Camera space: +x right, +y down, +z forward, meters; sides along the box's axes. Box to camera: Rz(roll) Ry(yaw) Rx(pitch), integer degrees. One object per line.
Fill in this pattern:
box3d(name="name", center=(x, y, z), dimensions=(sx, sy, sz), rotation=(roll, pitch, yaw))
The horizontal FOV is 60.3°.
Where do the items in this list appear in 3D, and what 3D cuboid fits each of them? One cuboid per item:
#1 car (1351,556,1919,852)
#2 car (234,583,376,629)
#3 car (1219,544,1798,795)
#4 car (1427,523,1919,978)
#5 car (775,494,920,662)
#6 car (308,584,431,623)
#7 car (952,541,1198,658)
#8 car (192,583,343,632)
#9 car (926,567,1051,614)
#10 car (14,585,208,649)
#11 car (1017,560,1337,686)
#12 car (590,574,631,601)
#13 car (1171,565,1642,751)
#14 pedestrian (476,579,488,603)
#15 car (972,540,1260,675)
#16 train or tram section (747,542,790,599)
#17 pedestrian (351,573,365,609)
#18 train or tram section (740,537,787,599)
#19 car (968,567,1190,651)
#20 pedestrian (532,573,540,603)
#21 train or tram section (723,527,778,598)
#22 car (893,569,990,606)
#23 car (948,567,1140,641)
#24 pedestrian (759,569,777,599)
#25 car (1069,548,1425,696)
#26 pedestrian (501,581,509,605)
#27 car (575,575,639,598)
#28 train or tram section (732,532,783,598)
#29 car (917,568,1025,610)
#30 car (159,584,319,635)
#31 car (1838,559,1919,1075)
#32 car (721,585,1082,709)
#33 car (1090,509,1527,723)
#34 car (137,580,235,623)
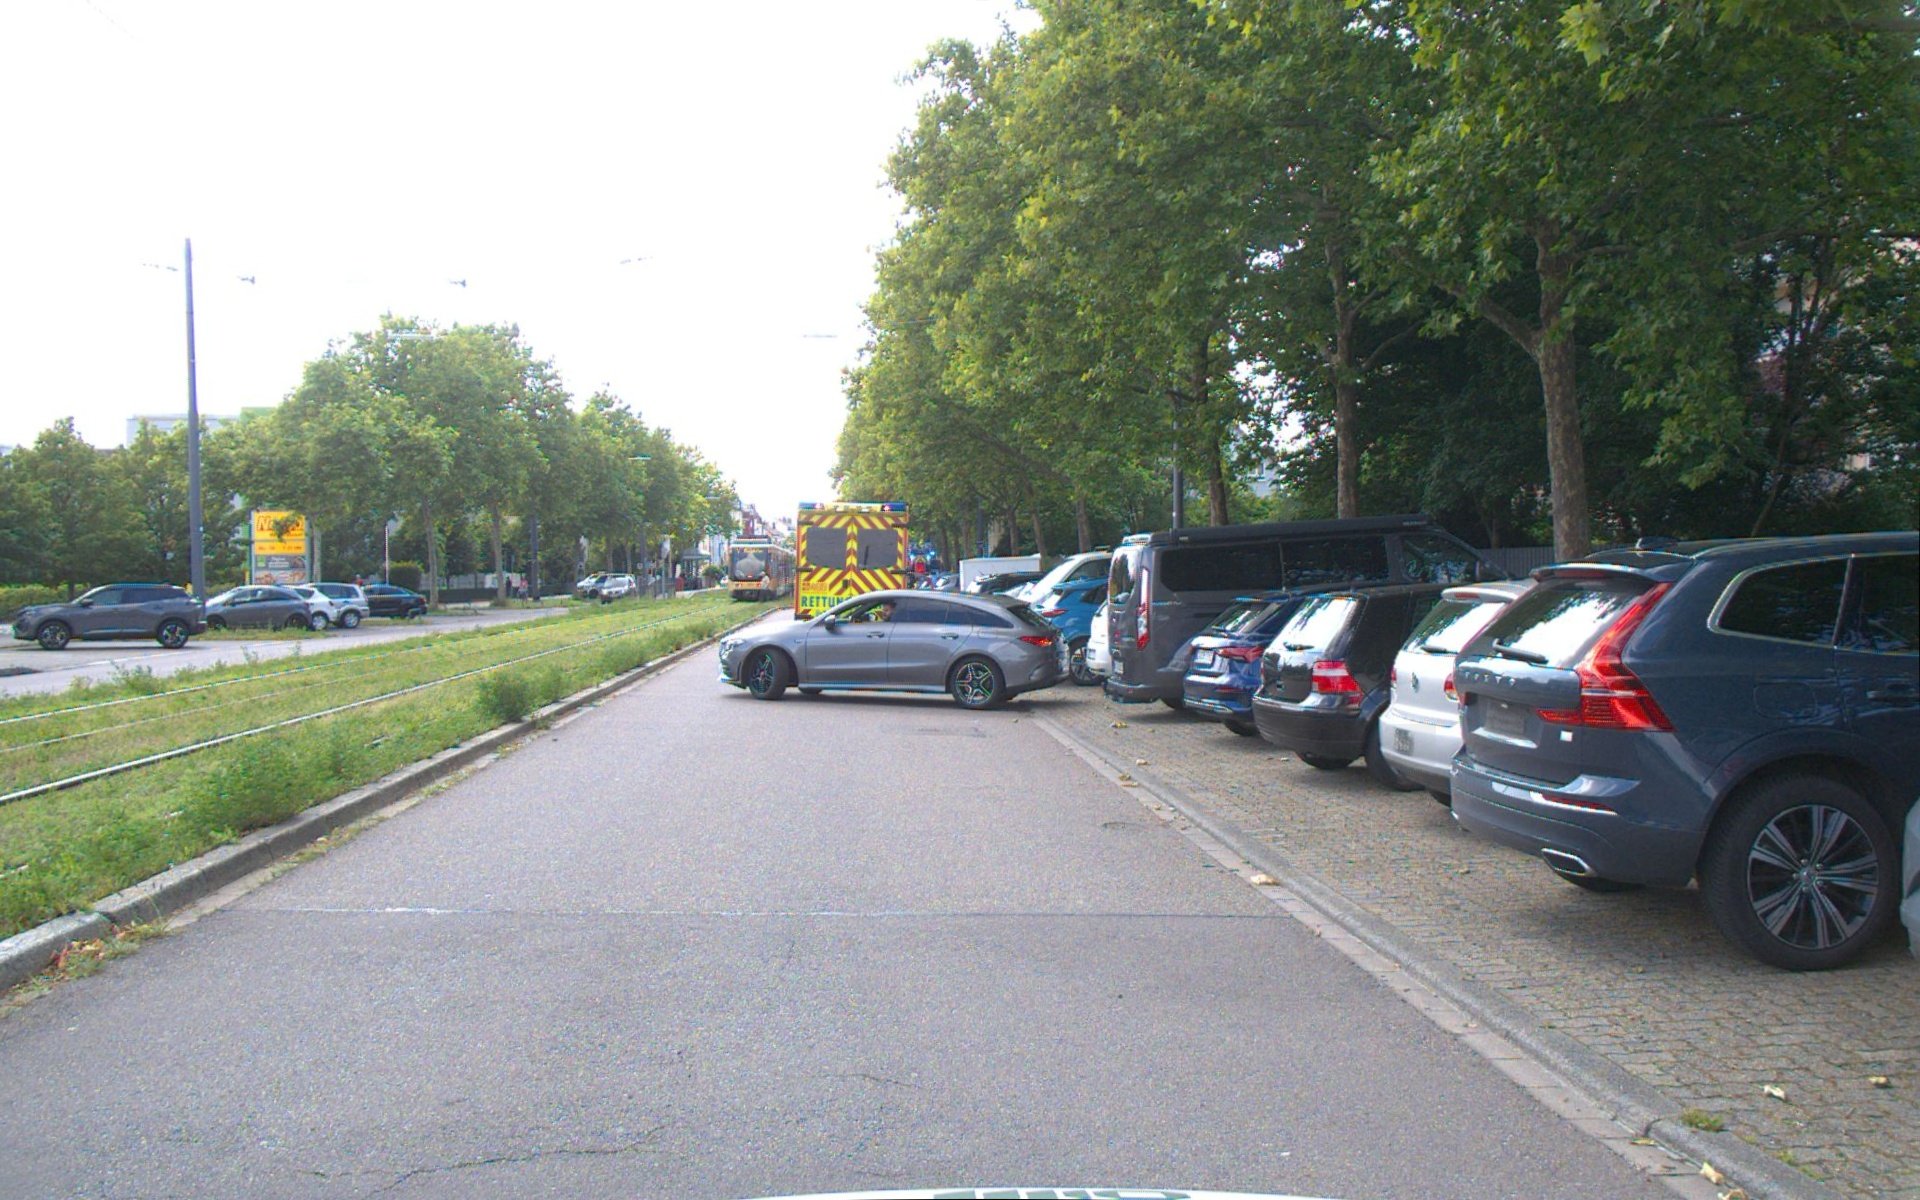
box3d(name="car", center=(4.558, 0.539, 10.030), dimensions=(3.888, 1.520, 1.754), rotation=(-2, 1, -5))
box3d(name="car", center=(-22.476, 0.186, 56.847), dimensions=(4.195, 1.508, 1.856), rotation=(0, 0, -40))
box3d(name="car", center=(4.158, 0.455, 12.726), dimensions=(3.899, 1.633, 1.749), rotation=(-2, 1, -15))
box3d(name="car", center=(4.438, 0.507, 7.161), dimensions=(4.293, 1.668, 1.755), rotation=(-2, 1, -2))
box3d(name="car", center=(-2.204, -0.441, 33.887), dimensions=(2.588, 3.018, 6.297), rotation=(2, 0, -2))
box3d(name="car", center=(-23.175, 0.118, 65.017), dimensions=(4.202, 1.508, 1.853), rotation=(0, 0, -44))
box3d(name="car", center=(2.202, -0.029, 32.173), dimensions=(4.460, 2.079, 1.853), rotation=(-2, 1, -8))
box3d(name="car", center=(-22.495, 0.225, 53.783), dimensions=(4.195, 1.508, 1.856), rotation=(0, 0, -40))
box3d(name="car", center=(1.048, -0.363, 62.333), dimensions=(4.460, 1.636, 1.853), rotation=(-2, 1, -8))
box3d(name="car", center=(-20.918, 0.394, 40.864), dimensions=(4.174, 1.508, 1.865), rotation=(0, 0, -29))
box3d(name="car", center=(3.238, 0.316, 25.105), dimensions=(4.461, 1.689, 1.852), rotation=(-2, 1, -9))
box3d(name="car", center=(-22.110, -0.832, 104.892), dimensions=(1.955, 1.585, 4.366), rotation=(-2, 1, -5))
box3d(name="car", center=(4.089, 0.502, 15.515), dimensions=(3.888, 1.520, 1.754), rotation=(-2, 0, -5))
box3d(name="pedestrian", center=(-31.373, -0.570, 108.579), dimensions=(0.620, 1.578, 0.621), rotation=(-1, 1, -7))
box3d(name="car", center=(2.552, 0.094, 27.596), dimensions=(4.460, 2.035, 1.853), rotation=(-2, 1, -8))
box3d(name="train or tram section", center=(-12.901, -1.954, 112.069), dimensions=(2.462, 3.646, 7.438), rotation=(-2, 0, -4))
box3d(name="pedestrian", center=(-28.794, -0.440, 79.147), dimensions=(0.457, 1.706, 0.602), rotation=(-1, 1, -6))
box3d(name="train or tram section", center=(-12.379, -1.957, 104.650), dimensions=(2.462, 3.646, 7.438), rotation=(-2, 0, -4))
box3d(name="car", center=(2.526, 0.171, 35.676), dimensions=(4.460, 1.636, 1.853), rotation=(-2, 1, -8))
box3d(name="pedestrian", center=(-25.403, -0.712, 99.071), dimensions=(0.413, 1.760, 0.466), rotation=(-1, 1, -9))
box3d(name="train or tram section", center=(-11.314, -1.961, 89.823), dimensions=(2.462, 3.646, 7.438), rotation=(-2, 0, -4))
box3d(name="car", center=(-0.917, -0.635, 80.310), dimensions=(4.460, 1.636, 1.853), rotation=(-2, 1, -8))
box3d(name="car", center=(2.040, 0.080, 40.807), dimensions=(4.460, 1.636, 1.853), rotation=(-2, 1, -8))
box3d(name="pedestrian", center=(-9.921, -0.832, 85.561), dimensions=(0.863, 1.552, 0.750), rotation=(1, 0, -5))
box3d(name="car", center=(3.843, 0.269, 22.610), dimensions=(4.457, 1.797, 1.854), rotation=(-2, 1, -5))
box3d(name="pedestrian", center=(-28.339, -0.416, 102.975), dimensions=(0.413, 1.499, 0.466), rotation=(-1, 1, -9))
box3d(name="car", center=(-27.609, -1.071, 129.348), dimensions=(4.591, 1.661, 1.854), rotation=(-2, 1, -43))
box3d(name="train or tram section", center=(-11.850, -1.959, 97.230), dimensions=(2.462, 3.646, 7.438), rotation=(-2, 0, -4))
box3d(name="car", center=(0.458, -0.488, 72.159), dimensions=(4.460, 1.636, 1.853), rotation=(-2, 1, -8))
box3d(name="car", center=(-22.175, 0.285, 50.930), dimensions=(4.195, 1.508, 1.856), rotation=(0, 0, -40))
box3d(name="car", center=(4.994, 0.593, 4.505), dimensions=(4.293, 1.527, 1.755), rotation=(-2, 1, -2))
box3d(name="car", center=(-0.710, 0.558, 21.392), dimensions=(4.358, 1.409, 1.768), rotation=(1, 0, 11))
box3d(name="car", center=(3.837, 0.147, 18.668), dimensions=(4.457, 2.160, 1.854), rotation=(-2, 1, -5))
box3d(name="car", center=(-34.450, 0.059, 73.596), dimensions=(3.910, 1.780, 1.997), rotation=(2, 1, 28))
